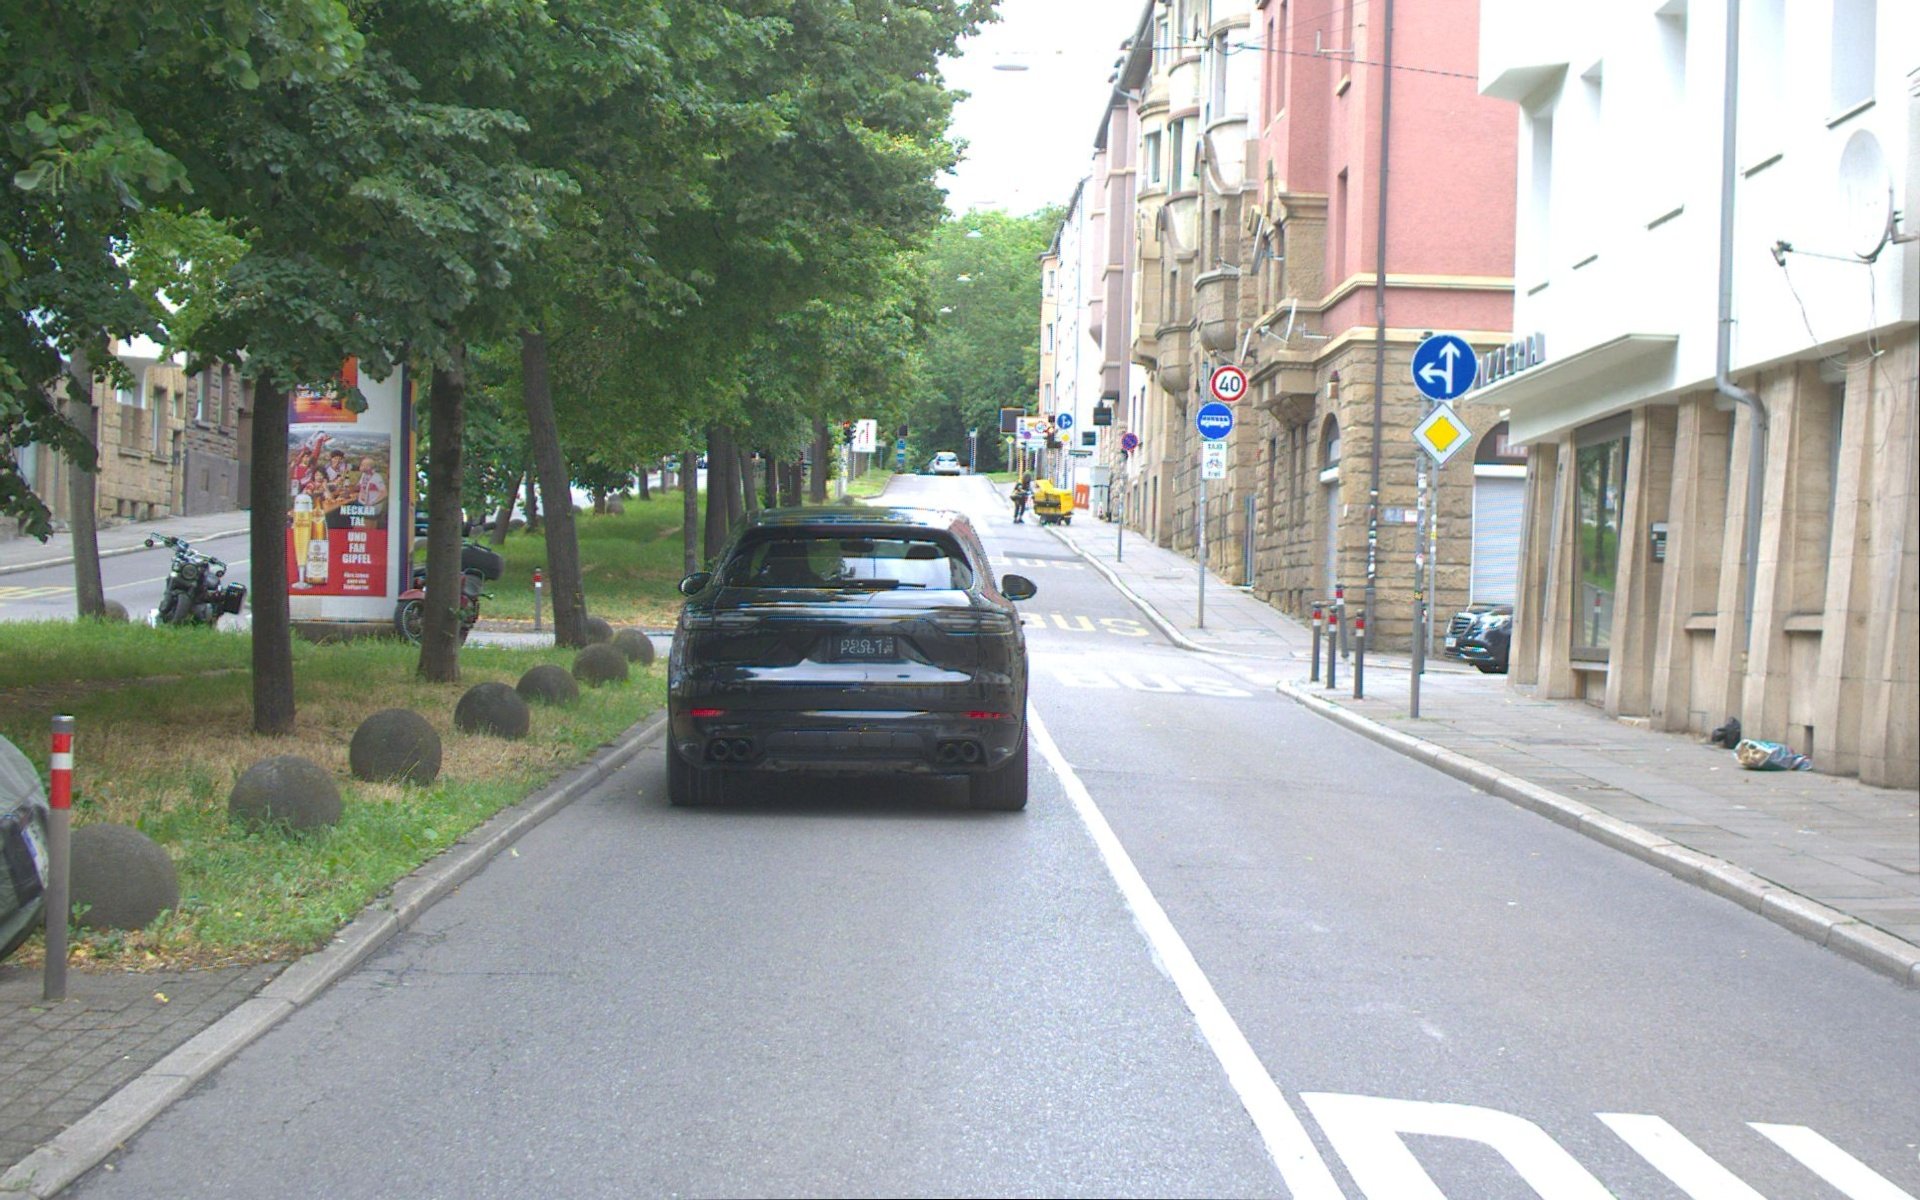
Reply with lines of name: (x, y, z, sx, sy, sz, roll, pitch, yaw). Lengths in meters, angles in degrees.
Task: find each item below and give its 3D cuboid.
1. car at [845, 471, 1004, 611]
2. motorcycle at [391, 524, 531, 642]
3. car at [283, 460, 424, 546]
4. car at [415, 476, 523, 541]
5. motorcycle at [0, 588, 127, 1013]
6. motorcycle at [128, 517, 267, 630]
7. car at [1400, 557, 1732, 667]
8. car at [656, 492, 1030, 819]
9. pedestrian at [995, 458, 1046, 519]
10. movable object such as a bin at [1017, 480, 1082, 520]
car: (-0.455, -0.795, 46.051, 1.993, 1.747, 4.000, 2, 1, 0)
motorcycle: (-5.088, -0.195, 35.201, 1.062, 1.144, 2.448, 1, 1, 0)
car: (-12.165, -1.945, 69.223, 1.993, 1.618, 4.816, 1, 2, 0)
car: (-11.981, -2.240, 84.147, 1.993, 1.478, 4.532, 1, 2, 0)
motorcycle: (-3.921, 0.575, 10.797, 2.355, 1.231, 1.034, 2, 2, -2)
motorcycle: (-7.757, -0.253, 35.074, 0.900, 1.103, 2.251, 1, 0, 0)
car: (8.064, 0.145, 45.701, 3.987, 1.371, 2.000, 0, 1, -30)
car: (-0.681, 0.248, 19.994, 1.903, 1.660, 4.136, 2, 1, -2)
pedestrian: (2.015, -3.700, 114.158, 1.301, 2.007, 1.020, 1, 1, -35)
movable object such as a bin: (2.940, -3.282, 112.984, 1.237, 1.270, 1.846, 1, 1, -35)
